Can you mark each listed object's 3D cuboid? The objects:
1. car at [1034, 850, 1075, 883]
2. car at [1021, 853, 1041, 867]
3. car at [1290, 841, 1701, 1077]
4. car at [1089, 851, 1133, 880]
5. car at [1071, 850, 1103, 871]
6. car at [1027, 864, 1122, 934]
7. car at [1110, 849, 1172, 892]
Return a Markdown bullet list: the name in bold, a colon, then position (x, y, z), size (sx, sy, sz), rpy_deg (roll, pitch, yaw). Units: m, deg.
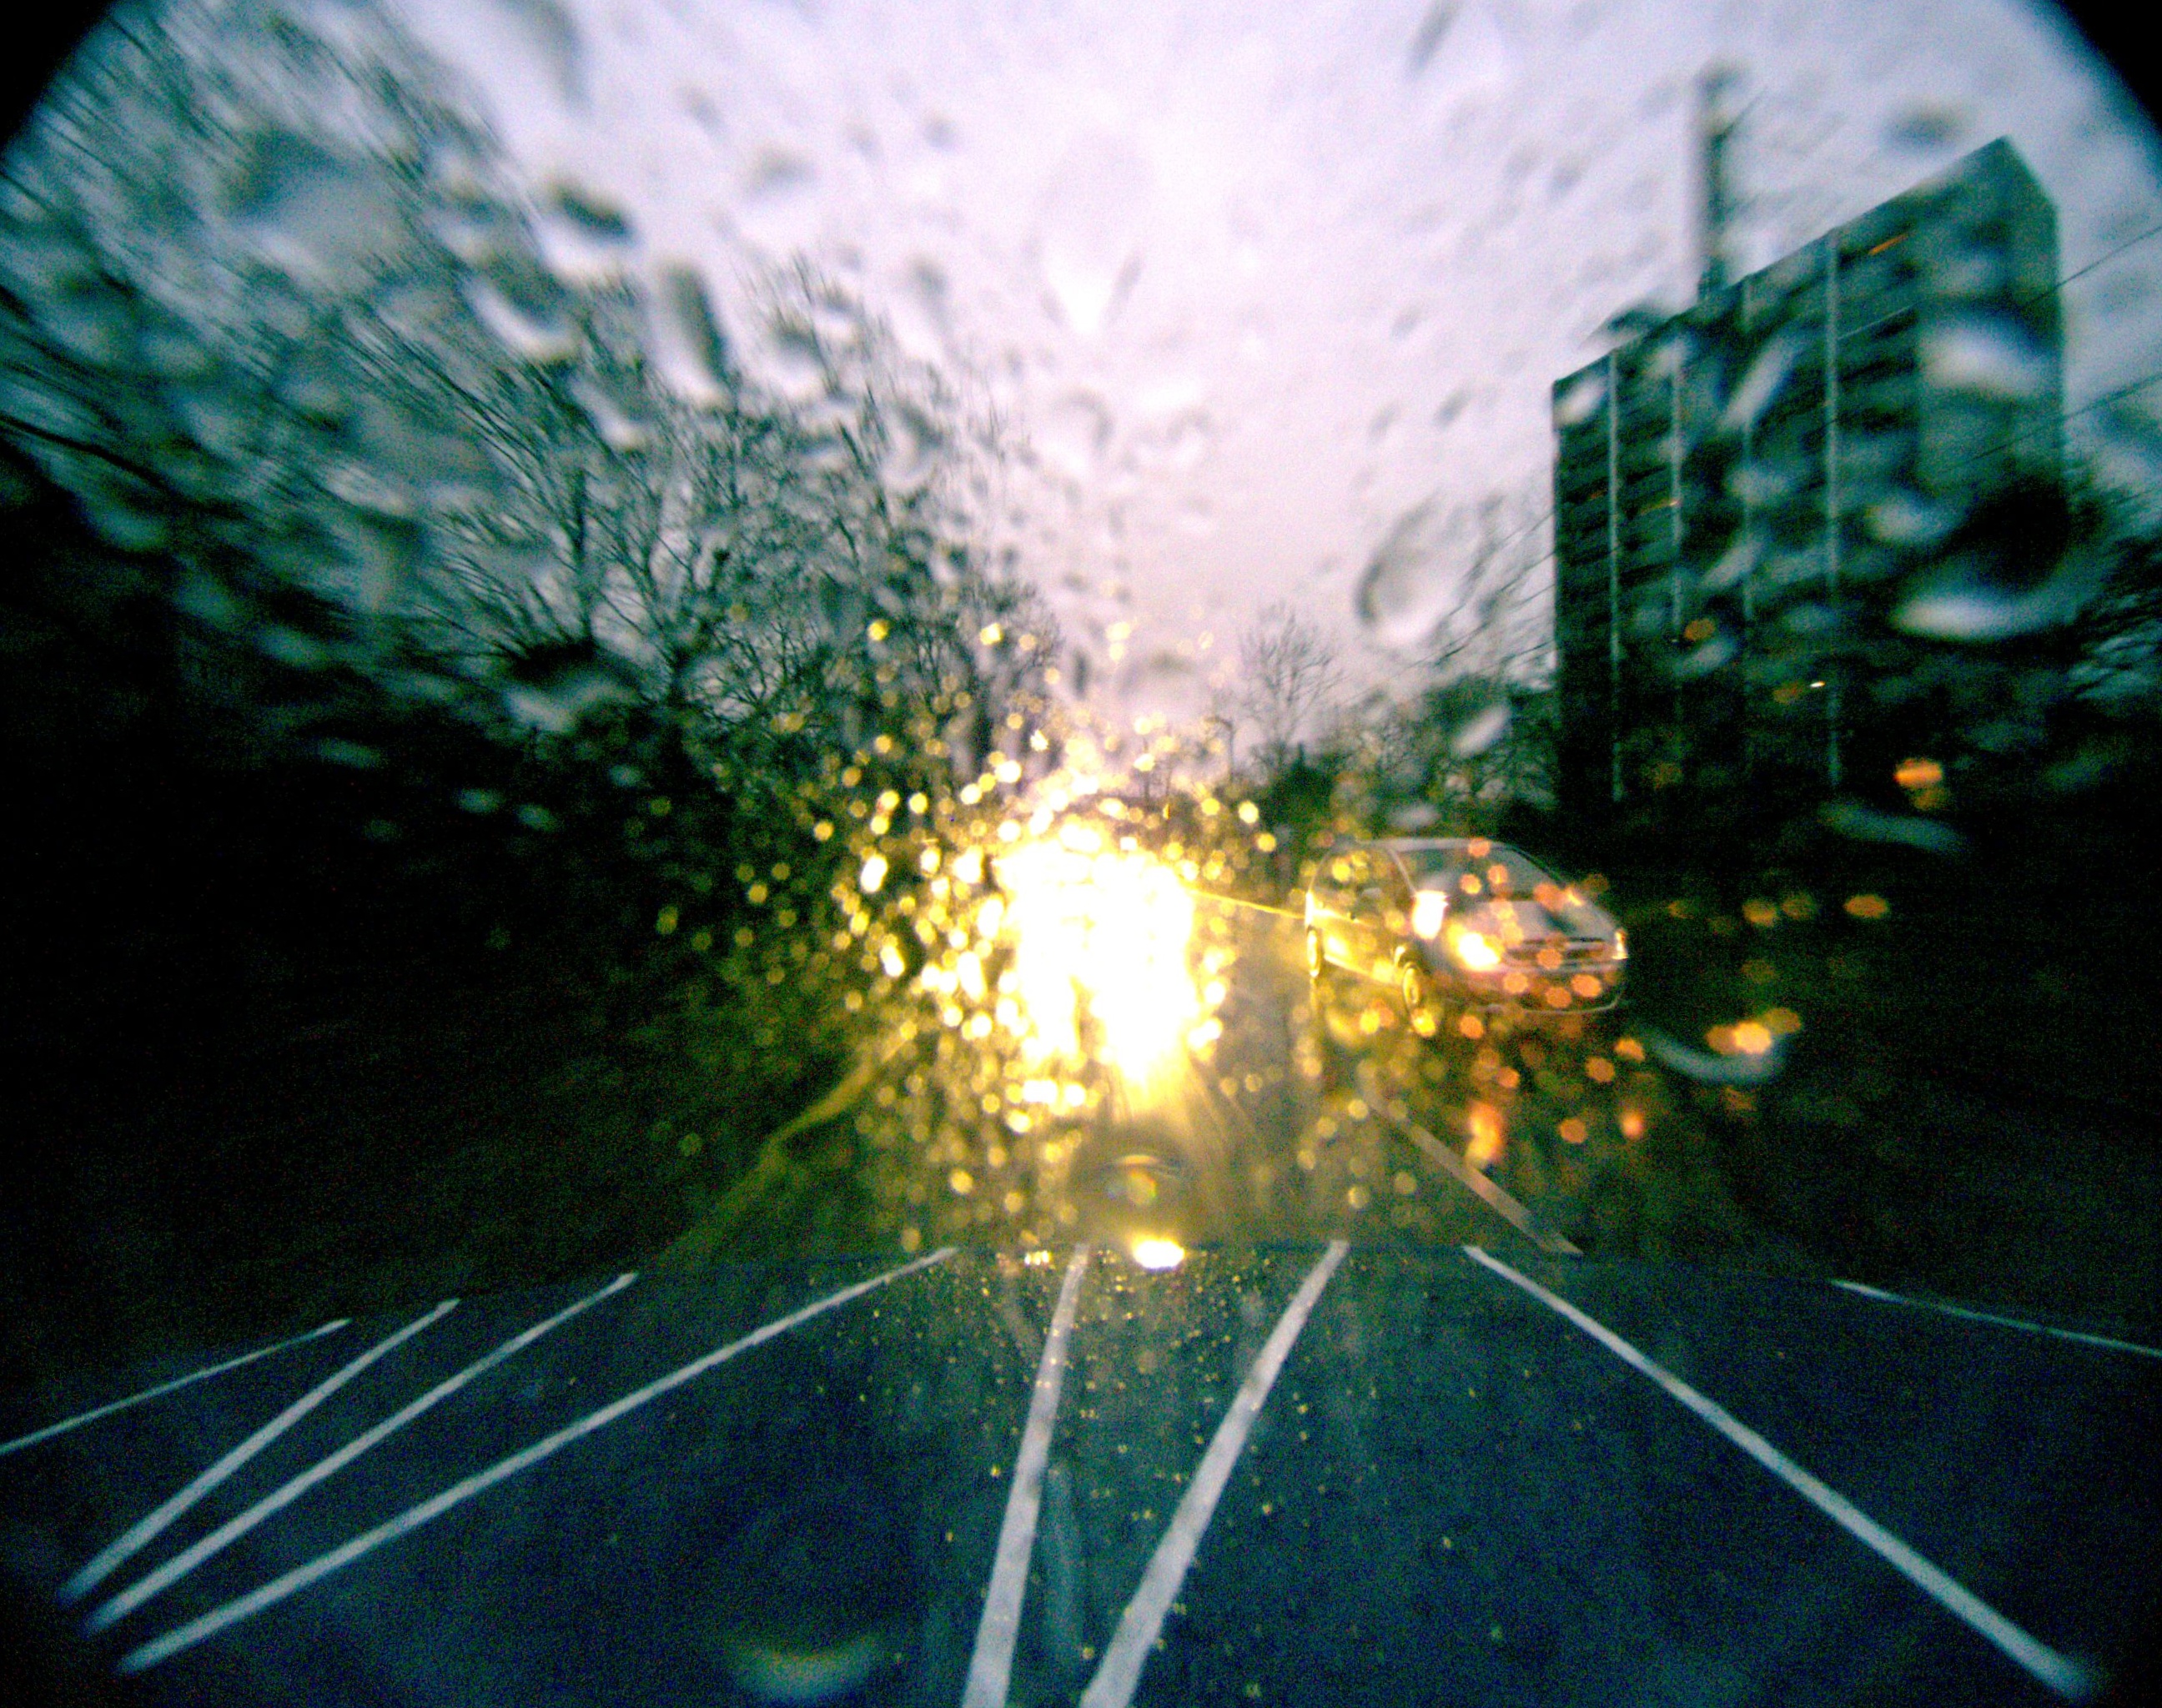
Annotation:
- **car**: position (-1.465, 0.634, 40.607), size (1.950, 1.546, 4.215), rpy_deg (-3, 0, -4)
- **car**: position (-5.833, 0.660, 88.444), size (1.950, 1.546, 4.214), rpy_deg (-3, 0, -7)
- **car**: position (3.439, 0.720, 7.254), size (1.669, 1.566, 3.922), rpy_deg (-3, 0, -1)
- **car**: position (1.734, 0.658, 44.933), size (1.845, 1.546, 4.214), rpy_deg (-3, 0, -7)
- **car**: position (0.430, 0.511, 62.318), size (1.951, 1.546, 4.214), rpy_deg (-3, 0, -8)
- **car**: position (-0.220, 0.927, 17.474), size (1.897, 1.347, 4.288), rpy_deg (-1, 0, -3)
- **car**: position (2.358, 0.622, 30.850), size (1.924, 1.546, 4.215), rpy_deg (-3, 0, -3)
